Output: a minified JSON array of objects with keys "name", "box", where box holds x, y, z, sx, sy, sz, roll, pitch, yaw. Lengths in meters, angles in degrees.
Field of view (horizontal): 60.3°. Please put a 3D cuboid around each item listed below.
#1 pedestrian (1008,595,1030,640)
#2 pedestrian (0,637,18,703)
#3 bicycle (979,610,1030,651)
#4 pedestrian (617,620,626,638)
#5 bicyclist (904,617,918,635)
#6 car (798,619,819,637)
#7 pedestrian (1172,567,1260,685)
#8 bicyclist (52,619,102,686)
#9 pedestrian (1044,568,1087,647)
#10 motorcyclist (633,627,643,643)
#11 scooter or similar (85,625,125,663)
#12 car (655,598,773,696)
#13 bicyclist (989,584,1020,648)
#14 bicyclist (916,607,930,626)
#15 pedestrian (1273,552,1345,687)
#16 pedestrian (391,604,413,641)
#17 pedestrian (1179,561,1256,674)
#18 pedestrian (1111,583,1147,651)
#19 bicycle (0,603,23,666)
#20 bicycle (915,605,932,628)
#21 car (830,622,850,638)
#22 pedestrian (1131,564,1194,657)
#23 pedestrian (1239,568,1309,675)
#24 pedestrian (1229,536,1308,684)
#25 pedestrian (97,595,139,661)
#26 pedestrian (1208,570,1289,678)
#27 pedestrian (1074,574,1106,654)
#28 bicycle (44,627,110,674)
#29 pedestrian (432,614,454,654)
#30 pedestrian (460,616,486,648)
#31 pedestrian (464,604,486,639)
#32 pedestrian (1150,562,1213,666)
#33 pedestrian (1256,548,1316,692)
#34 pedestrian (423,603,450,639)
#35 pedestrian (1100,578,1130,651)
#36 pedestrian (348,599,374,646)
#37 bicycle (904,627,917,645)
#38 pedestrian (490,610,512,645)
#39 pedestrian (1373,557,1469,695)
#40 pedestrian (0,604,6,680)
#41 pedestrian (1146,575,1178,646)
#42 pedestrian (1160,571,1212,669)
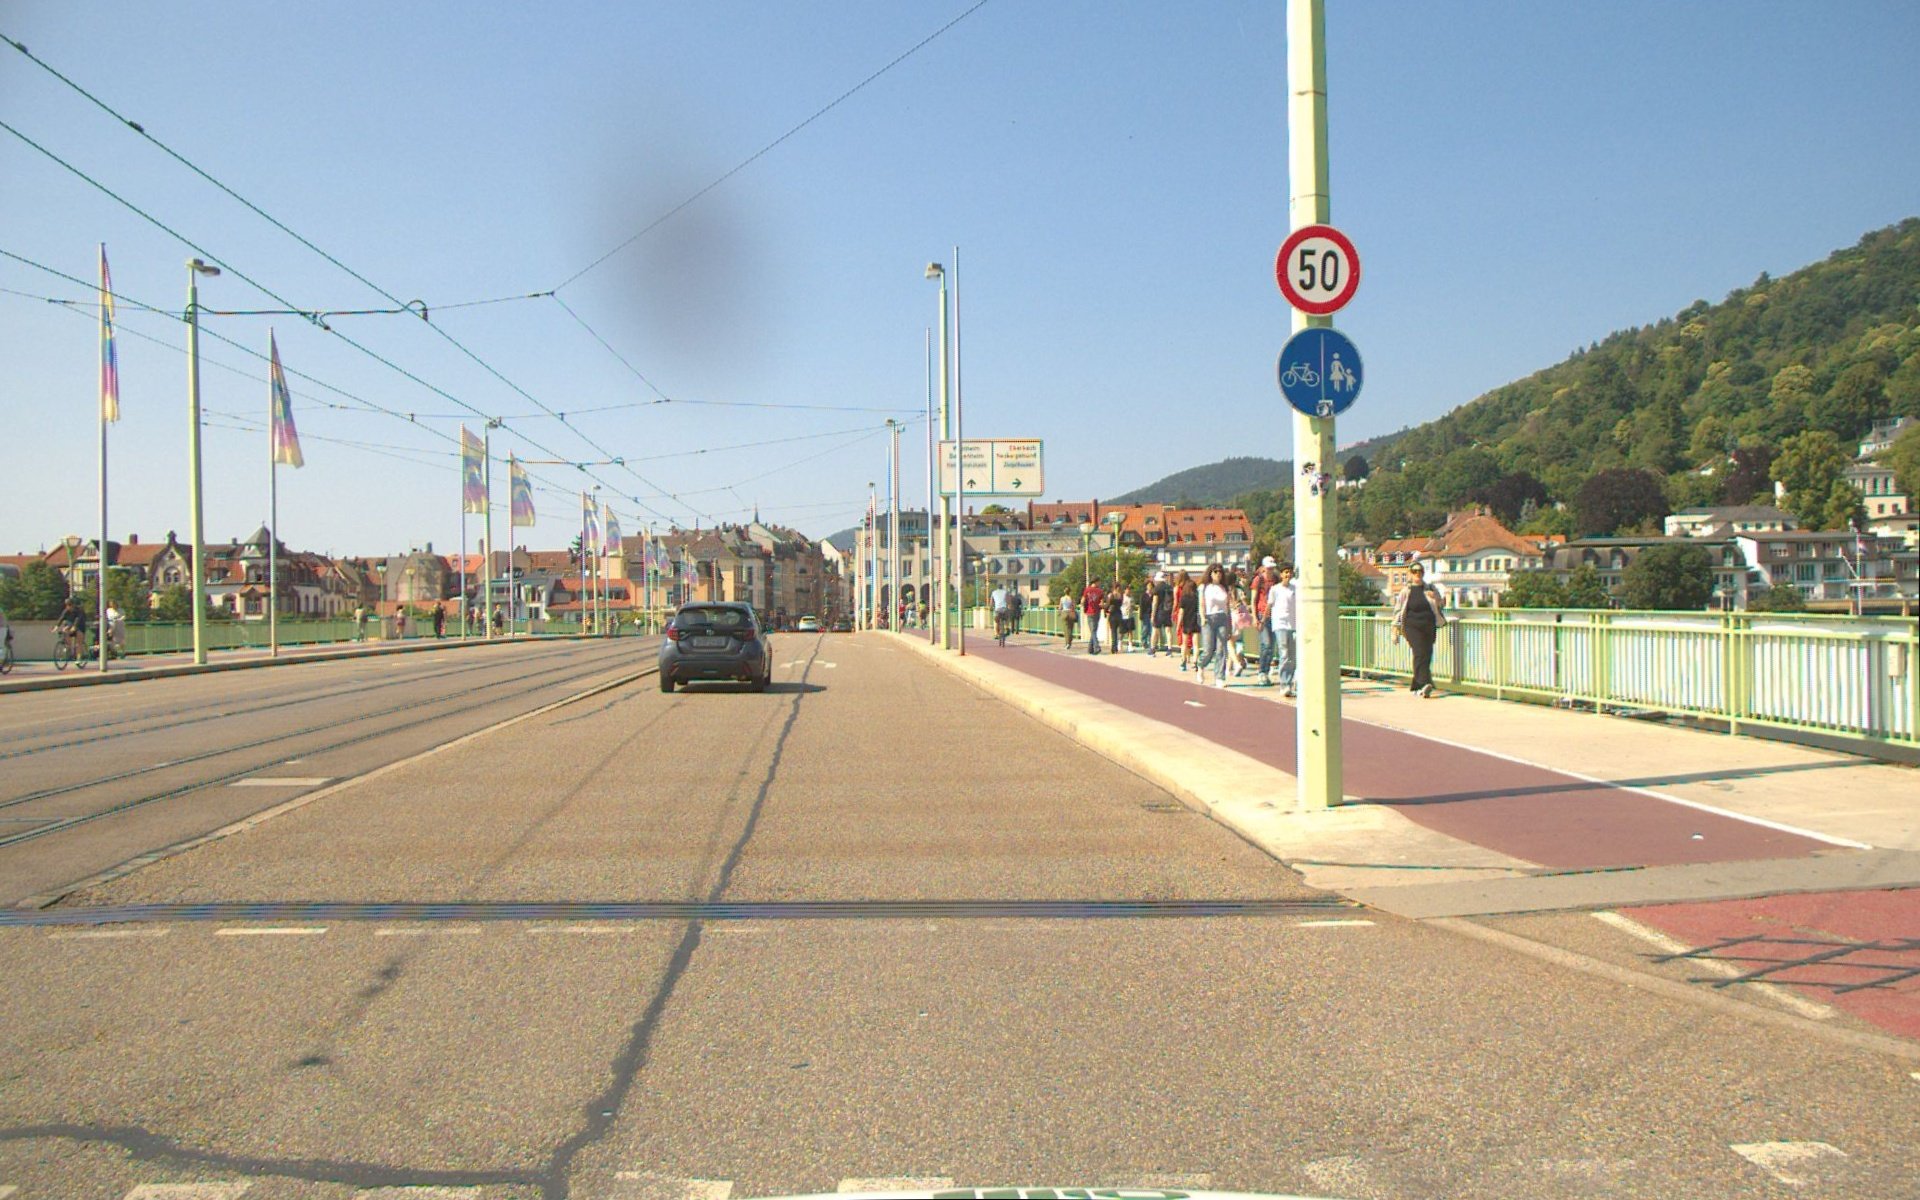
[{"name":"pedestrian","box":[2.315,0.692,65.293,0.643,1.774,0.976,0,0,-11]},{"name":"pedestrian","box":[-21.983,1.585,37.539,0.728,1.481,0.898,-1,-2,-5]},{"name":"bicycle","box":[1.240,0.851,47.362,0.778,1.115,3.737,-1,0,-9]},{"name":"pedestrian","box":[-33.451,2.865,163.493,0.814,1.752,1.092,0,0,-6]},{"name":"bicyclist","box":[-2.929,1.549,98.488,0.721,1.049,1.173,-1,-1,-7]},{"name":"car","box":[-13.833,2.590,150.687,1.770,1.494,3.993,-2,-1,-7]},{"name":"pedestrian","box":[3.638,0.371,23.535,0.967,1.644,0.919,0,-2,-11]},{"name":"bicyclist","box":[-21.924,1.309,41.069,0.860,1.637,0.771,-1,-2,-5]},{"name":"pedestrian","box":[2.763,0.210,43.333,0.858,2.049,1.056,0,-2,-11]},{"name":"motorcyclist","box":[-31.470,3.416,161.668,0.785,1.576,1.068,-1,-2,-5]},{"name":"scooter or similar","box":[-24.462,1.258,47.316,0.725,1.047,0.831,3,-1,-7]},{"name":"car","box":[-4.171,0.773,28.469,1.874,1.567,3.993,0,-1,-7]},{"name":"bicyclist","box":[1.258,0.461,47.282,0.661,1.774,1.148,-1,-1,-9]},{"name":"bicyclist","box":[-2.052,0.917,91.572,0.654,1.063,0.978,0,0,-11]},{"name":"pedestrian","box":[4.608,0.256,21.881,0.683,1.747,0.730,0,-2,-11]},{"name":"pedestrian","box":[-26.903,1.098,79.736,0.740,1.752,1.173,0,-2,-7]},{"name":"pedestrian","box":[4.145,0.280,26.676,0.967,1.781,0.927,0,-2,-11]},{"name":"pedestrian","box":[4.034,0.401,39.452,0.638,1.590,0.690,-2,-1,-11]},{"name":"bicycle","box":[-22.259,0.788,37.704,0.691,1.424,2.159,3,-1,-7]},{"name":"bicycle","box":[-2.010,0.933,91.305,0.682,1.214,2.075,-1,-2,-9]},{"name":"car","box":[-11.919,3.016,164.426,1.768,1.494,3.997,-2,-1,-3]},{"name":"pedestrian","box":[4.284,0.231,35.086,0.967,1.928,1.251,0,-2,-11]},{"name":"pedestrian","box":[5.073,0.349,26.780,0.819,1.706,0.883,0,-2,-11]},{"name":"pedestrian","box":[4.371,0.143,23.506,0.788,2.049,0.952,0,-2,-11]},{"name":"pedestrian","box":[-24.545,0.809,48.235,0.725,1.886,0.973,3,-1,-7]},{"name":"pedestrian","box":[5.017,0.412,28.803,0.967,1.800,1.251,-2,-1,-11]},{"name":"pedestrian","box":[3.018,0.326,38.396,0.574,1.825,0.631,0,-2,-10]},{"name":"bicycle","box":[-21.908,1.249,41.079,0.744,1.133,1.918,-1,-1,-5]},{"name":"pedestrian","box":[-26.975,1.764,86.257,0.951,2.049,1.099,0,-1,-10]},{"name":"pedestrian","box":[-28.857,1.919,98.068,1.075,1.759,1.294,-5,-2,-2]},{"name":"pedestrian","box":[-28.860,1.272,98.456,1.076,2.049,1.127,0,-1,-7]},{"name":"pedestrian","box":[4.350,0.281,32.485,0.996,1.988,0.937,-1,-2,-7]},{"name":"pedestrian","box":[4.191,0.258,21.301,0.539,1.830,0.644,0,-2,-11]},{"name":"pedestrian","box":[-25.976,1.031,82.078,1.076,1.789,1.293,0,0,-7]},{"name":"pedestrian","box":[3.599,0.347,38.431,0.513,1.678,0.698,0,-2,-10]},{"name":"pedestrian","box":[-26.891,1.007,74.312,0.881,2.049,1.040,0,-1,-7]},{"name":"bicycle","box":[-2.941,2.142,98.640,0.606,1.056,2.048,-1,-1,-6]},{"name":"pedestrian","box":[-27.137,1.604,97.745,1.076,2.049,1.293,0,-1,-7]},{"name":"pedestrian","box":[5.698,0.322,20.491,0.784,1.664,0.947,-1,-1,-11]},{"name":"pedestrian","box":[-23.262,0.985,39.213,0.725,1.816,0.956,3,-1,-7]},{"name":"pedestrian","box":[4.822,0.254,39.497,0.637,1.660,0.691,0,-1,-4]},{"name":"pedestrian","box":[3.936,0.355,28.837,0.642,1.679,0.866,0,-2,-10]}]
